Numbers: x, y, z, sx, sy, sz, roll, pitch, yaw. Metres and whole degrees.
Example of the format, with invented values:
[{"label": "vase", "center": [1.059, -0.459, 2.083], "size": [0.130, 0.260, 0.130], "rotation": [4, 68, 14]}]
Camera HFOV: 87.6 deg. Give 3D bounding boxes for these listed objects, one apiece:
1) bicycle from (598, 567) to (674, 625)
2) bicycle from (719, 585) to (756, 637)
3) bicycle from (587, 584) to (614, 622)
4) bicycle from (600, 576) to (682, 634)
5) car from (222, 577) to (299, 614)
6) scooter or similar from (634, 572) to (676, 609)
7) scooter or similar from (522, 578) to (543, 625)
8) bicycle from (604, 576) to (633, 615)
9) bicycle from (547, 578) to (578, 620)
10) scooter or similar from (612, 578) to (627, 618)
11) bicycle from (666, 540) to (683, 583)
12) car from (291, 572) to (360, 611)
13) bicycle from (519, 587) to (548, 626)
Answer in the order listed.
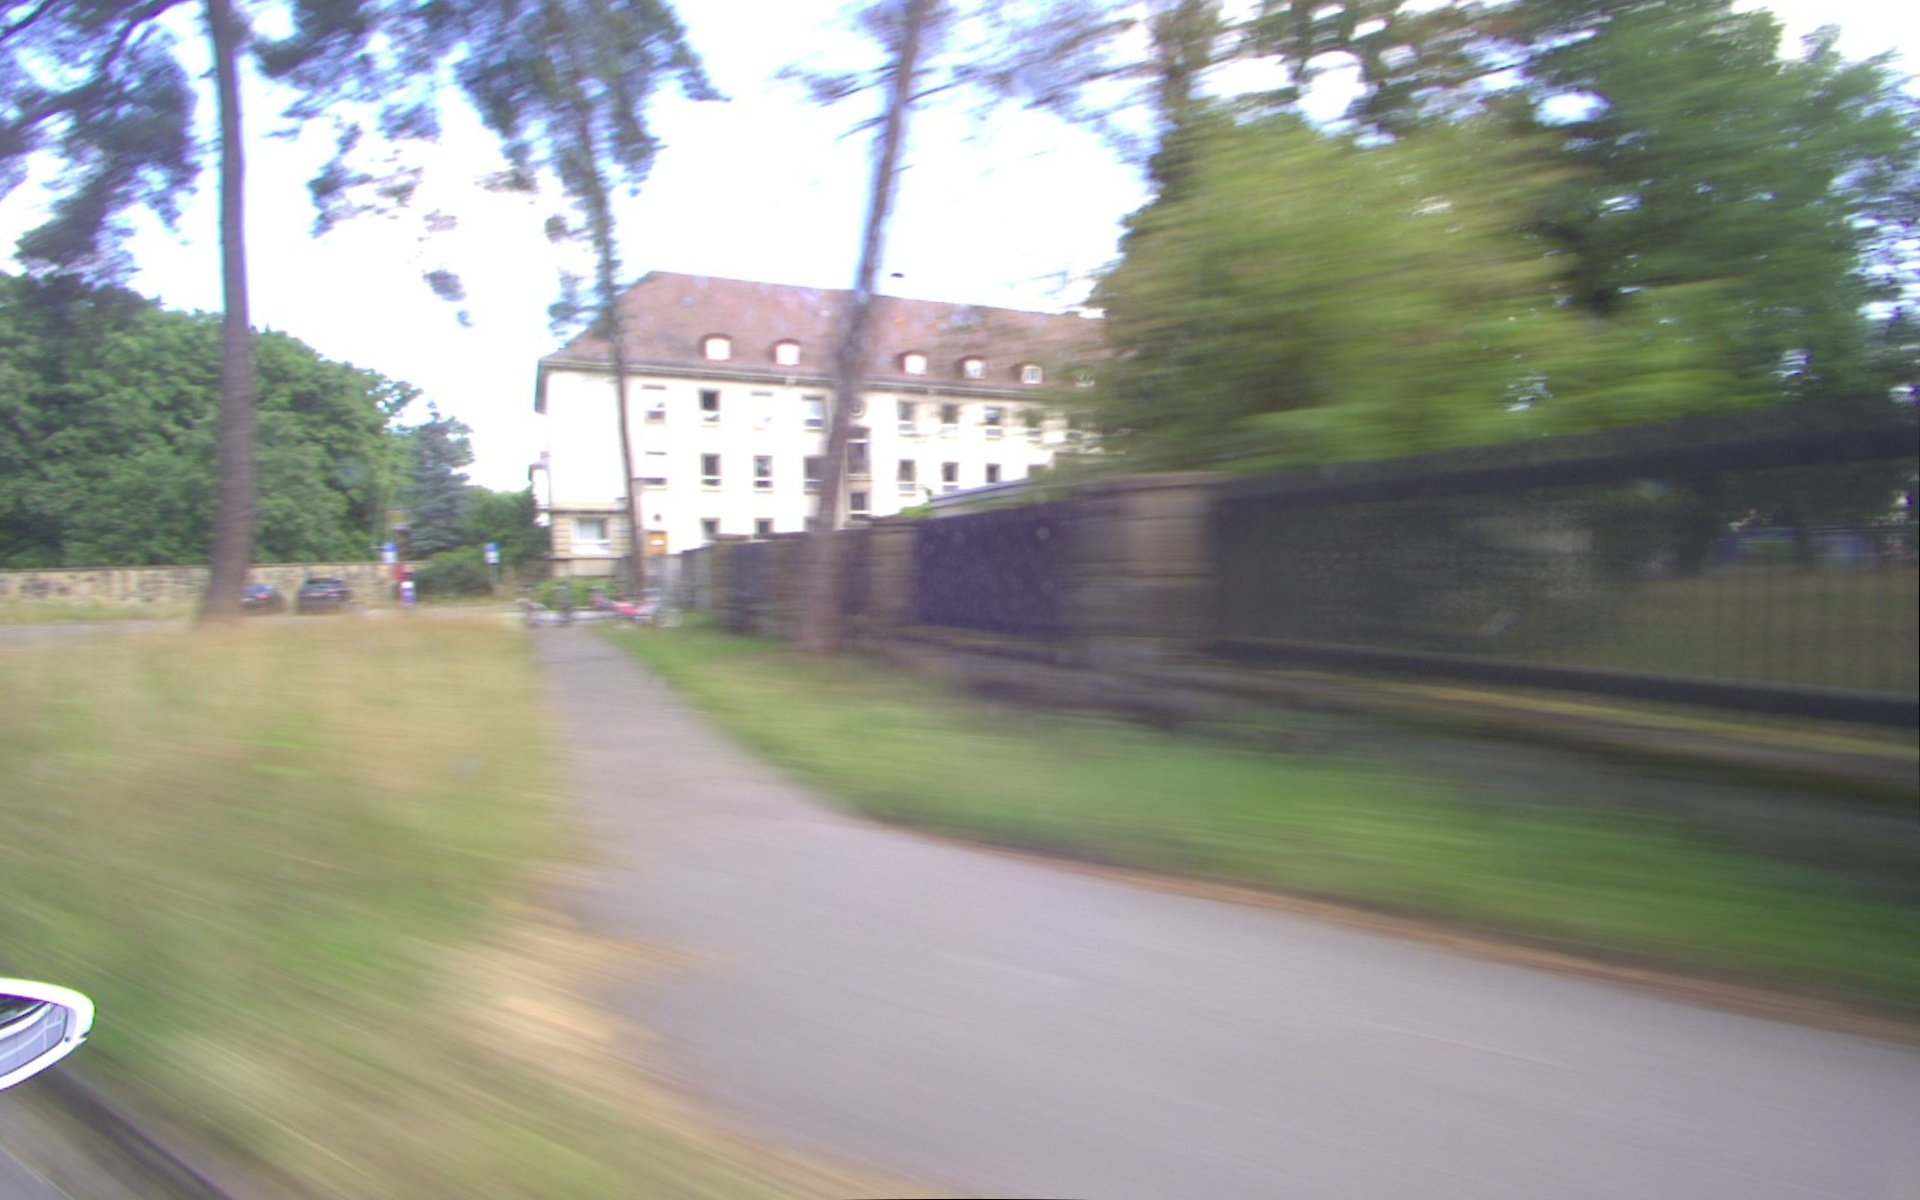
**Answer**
[{"label": "bicycle", "center": [-8.516, -0.117, 26.356], "size": [1.777, 1.437, 0.584], "rotation": [-4, 4, -40]}, {"label": "bicycle", "center": [-4.726, 0.208, 21.177], "size": [0.367, 1.030, 1.945], "rotation": [-2, 2, -24]}, {"label": "bicycle", "center": [-11.493, 0.095, 32.042], "size": [0.611, 1.178, 1.608], "rotation": [0, 1, -13]}, {"label": "bicycle", "center": [-8.216, 0.120, 25.829], "size": [1.960, 1.436, 0.573], "rotation": [-1, 2, -40]}, {"label": "car", "center": [-31.392, -0.255, 45.031], "size": [1.847, 1.462, 3.986], "rotation": [-2, 3, -21]}, {"label": "scooter or similar", "center": [-9.891, -0.307, 32.470], "size": [0.433, 1.166, 1.242], "rotation": [2, 3, 38]}, {"label": "scooter or similar", "center": [-11.559, 0.046, 27.070], "size": [0.432, 1.244, 1.085], "rotation": [0, 0, -29]}, {"label": "bicycle", "center": [-11.696, -0.156, 34.286], "size": [0.662, 1.294, 1.732], "rotation": [-2, 1, -27]}, {"label": "bicycle", "center": [-12.348, -0.050, 31.101], "size": [0.626, 1.257, 2.164], "rotation": [-2, 2, -28]}, {"label": "scooter or similar", "center": [-10.962, -0.079, 32.260], "size": [0.379, 1.263, 1.281], "rotation": [-1, 2, -17]}, {"label": "bicycle", "center": [-9.903, -1.312, 34.700], "size": [0.507, 1.436, 1.902], "rotation": [0, 1, -18]}, {"label": "car", "center": [-28.680, -0.441, 45.389], "size": [1.868, 1.568, 3.985], "rotation": [-2, 3, -21]}, {"label": "bicycle", "center": [-12.548, 0.175, 29.459], "size": [0.729, 1.099, 1.676], "rotation": [0, 1, -25]}]
